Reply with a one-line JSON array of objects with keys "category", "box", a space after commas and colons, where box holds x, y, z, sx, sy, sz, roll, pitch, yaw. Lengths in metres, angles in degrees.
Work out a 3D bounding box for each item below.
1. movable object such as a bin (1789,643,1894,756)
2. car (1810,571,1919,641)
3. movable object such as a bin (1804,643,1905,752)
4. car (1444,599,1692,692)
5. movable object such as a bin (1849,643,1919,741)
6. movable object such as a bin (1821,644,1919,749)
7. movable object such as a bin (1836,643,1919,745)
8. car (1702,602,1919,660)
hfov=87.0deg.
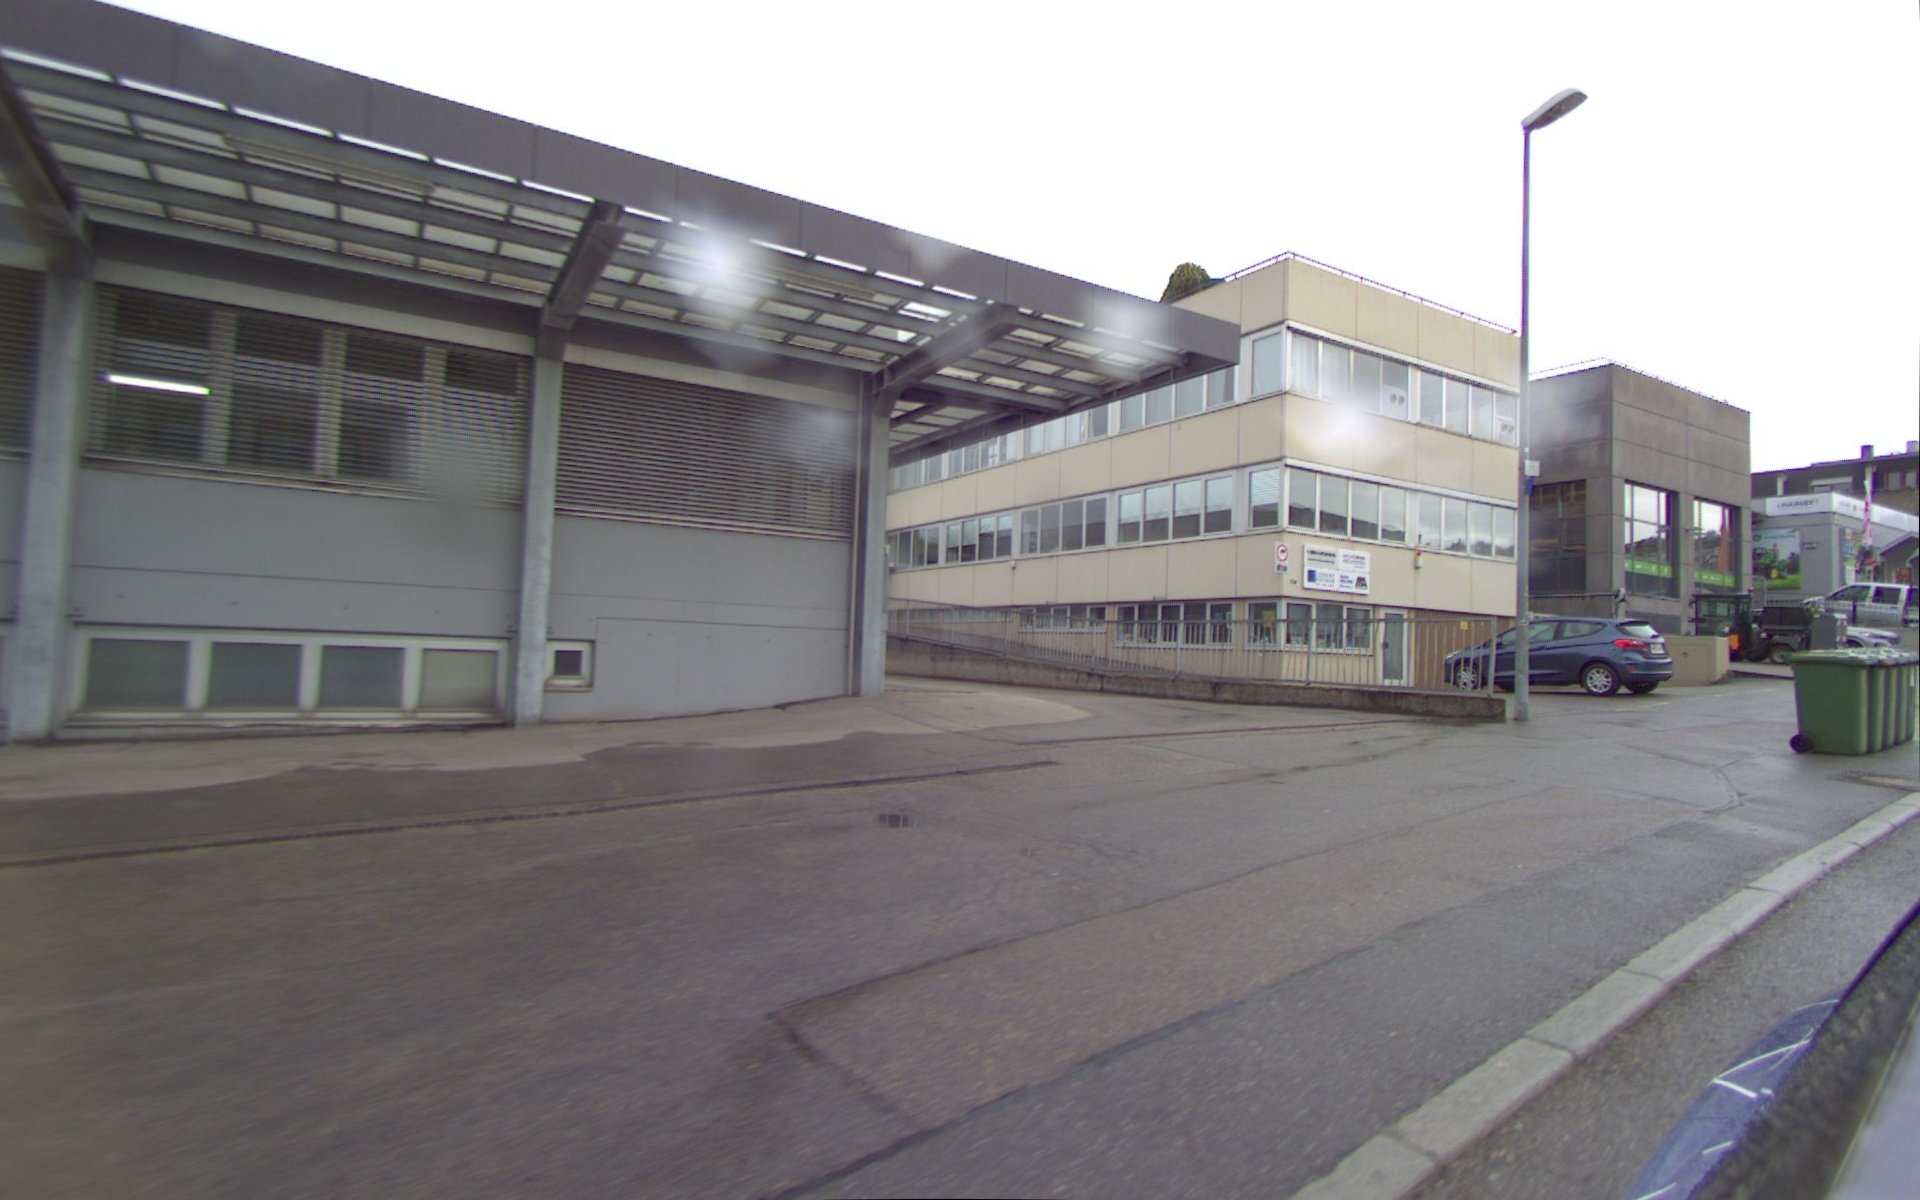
[{"category": "movable object such as a bin", "box": [9.282, 1.019, 10.663, 0.583, 1.104, 0.736, 1, -1, -38]}, {"category": "car", "box": [32.536, 0.205, 34.380, 2.158, 2.323, 5.161, 1, -1, -30]}, {"category": "movable object such as a bin", "box": [9.761, 1.039, 11.045, 0.583, 1.104, 0.736, 1, -1, -38]}, {"category": "car", "box": [11.493, 0.795, 19.364, 1.599, 1.559, 3.752, 1, -1, -33]}, {"category": "movable object such as a bin", "box": [11.219, 1.084, 12.147, 0.583, 1.104, 0.736, 1, -1, -38]}, {"category": "movable object such as a bin", "box": [10.253, 1.061, 11.406, 0.583, 1.104, 0.736, 1, -1, -38]}, {"category": "movable object such as a bin", "box": [10.737, 1.072, 11.772, 0.583, 1.104, 0.736, 1, -1, -38]}, {"category": "car", "box": [24.713, 0.855, 29.486, 1.903, 1.516, 4.629, 1, 0, -32]}]
